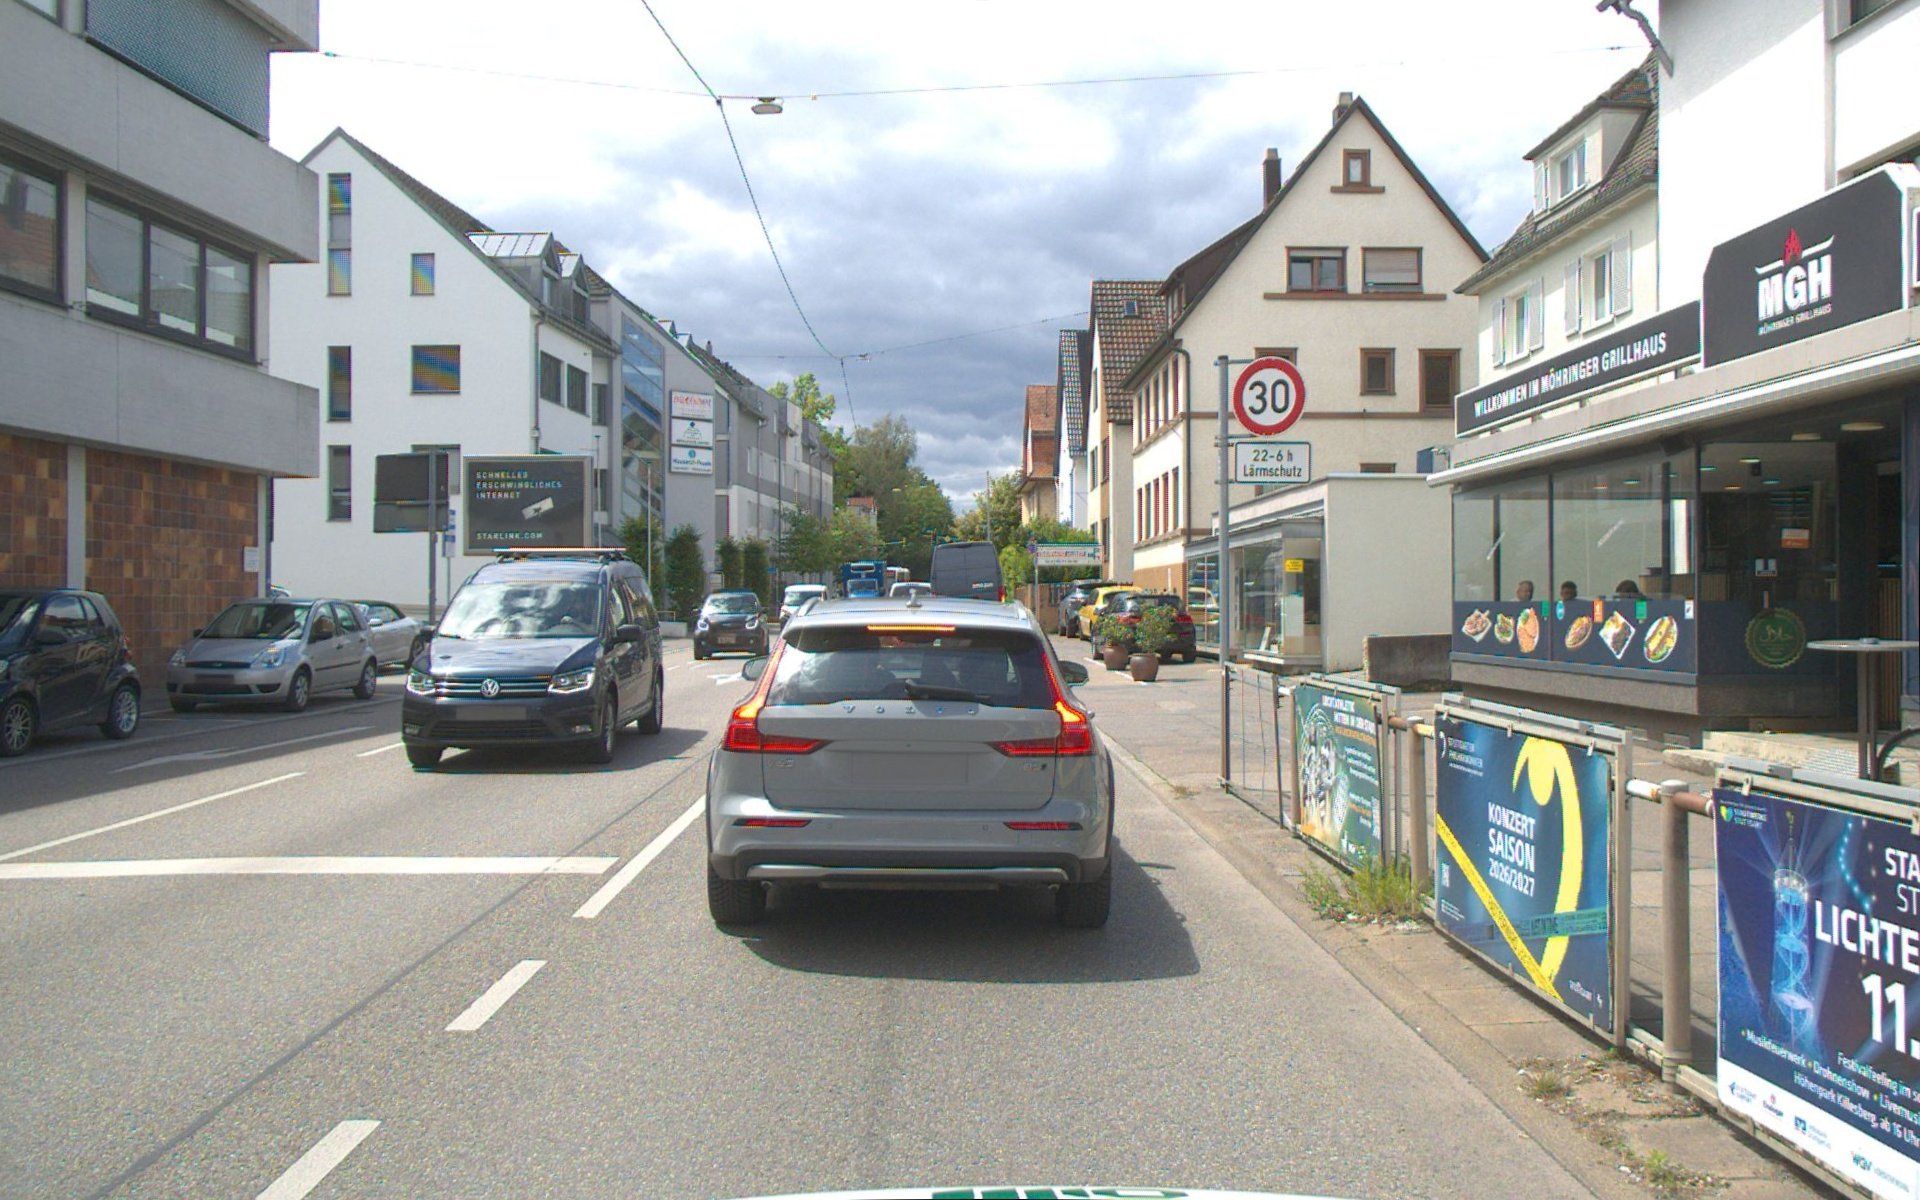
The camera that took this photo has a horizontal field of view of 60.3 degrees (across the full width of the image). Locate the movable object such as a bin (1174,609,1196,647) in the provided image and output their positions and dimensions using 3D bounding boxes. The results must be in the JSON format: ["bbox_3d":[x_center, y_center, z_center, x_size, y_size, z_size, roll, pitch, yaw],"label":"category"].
[{"bbox_3d":[5.621,0.694,41.337,0.490,0.941,0.598,-1,0,3],"label":"movable object such as a bin"}]

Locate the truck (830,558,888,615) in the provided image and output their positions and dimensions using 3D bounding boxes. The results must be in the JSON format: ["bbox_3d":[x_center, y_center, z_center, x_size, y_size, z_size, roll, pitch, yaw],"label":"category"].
[{"bbox_3d":[-5.737,-0.748,95.345,2.795,3.147,8.089,-1,0,0],"label":"truck"}]

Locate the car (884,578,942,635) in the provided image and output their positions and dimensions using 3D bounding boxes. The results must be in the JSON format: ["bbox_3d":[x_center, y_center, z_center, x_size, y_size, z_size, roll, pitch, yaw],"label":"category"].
[{"bbox_3d":[-1.727,0.224,61.980,1.952,2.049,4.000,0,0,1],"label":"car"}]

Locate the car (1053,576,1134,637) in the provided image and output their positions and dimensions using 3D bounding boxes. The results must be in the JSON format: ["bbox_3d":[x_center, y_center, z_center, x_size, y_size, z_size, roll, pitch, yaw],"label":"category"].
[{"bbox_3d":[3.825,0.154,48.112,1.823,1.640,4.585,-2,0,-2],"label":"car"}]

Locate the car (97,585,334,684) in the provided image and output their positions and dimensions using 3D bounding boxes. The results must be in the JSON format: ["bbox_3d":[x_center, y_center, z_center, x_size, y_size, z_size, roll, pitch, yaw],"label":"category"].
[{"bbox_3d":[-14.212,0.590,31.959,1.910,1.647,4.933,-3,0,5],"label":"car"}]

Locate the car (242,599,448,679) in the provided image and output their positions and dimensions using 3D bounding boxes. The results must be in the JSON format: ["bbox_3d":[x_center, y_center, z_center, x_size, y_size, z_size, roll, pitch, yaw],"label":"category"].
[{"bbox_3d":[-11.639,0.685,31.707,1.910,1.381,4.857,-1,0,3],"label":"car"}]

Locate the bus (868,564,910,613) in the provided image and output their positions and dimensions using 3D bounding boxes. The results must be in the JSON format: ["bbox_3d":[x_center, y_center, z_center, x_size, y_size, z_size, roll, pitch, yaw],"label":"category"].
[{"bbox_3d":[-4.890,-0.755,114.954,2.628,3.219,10.182,-1,0,-1],"label":"bus"}]

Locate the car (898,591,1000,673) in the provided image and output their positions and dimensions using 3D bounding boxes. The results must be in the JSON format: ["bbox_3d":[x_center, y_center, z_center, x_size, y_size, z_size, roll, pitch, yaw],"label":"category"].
[{"bbox_3d":[-0.172,0.571,32.040,1.857,1.472,3.969,1,0,1],"label":"car"}]

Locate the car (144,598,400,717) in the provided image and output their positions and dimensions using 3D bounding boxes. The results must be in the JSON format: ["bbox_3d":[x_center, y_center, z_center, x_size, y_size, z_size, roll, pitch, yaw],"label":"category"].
[{"bbox_3d":[-9.307,0.719,22.757,1.686,1.447,4.149,1,0,1],"label":"car"}]

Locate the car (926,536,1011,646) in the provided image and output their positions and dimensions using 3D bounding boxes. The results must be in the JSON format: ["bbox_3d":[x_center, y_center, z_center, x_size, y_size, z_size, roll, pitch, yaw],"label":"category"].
[{"bbox_3d":[0.179,-0.244,46.273,2.207,2.844,5.568,-1,0,-1],"label":"car"}]

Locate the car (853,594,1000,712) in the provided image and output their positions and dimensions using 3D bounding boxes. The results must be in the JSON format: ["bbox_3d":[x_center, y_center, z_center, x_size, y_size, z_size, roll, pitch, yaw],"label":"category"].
[{"bbox_3d":[-0.413,0.663,23.033,1.857,1.472,3.969,0,0,0],"label":"car"}]

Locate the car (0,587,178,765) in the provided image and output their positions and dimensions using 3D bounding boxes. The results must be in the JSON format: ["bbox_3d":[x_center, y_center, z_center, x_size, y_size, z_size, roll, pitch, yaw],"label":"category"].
[{"bbox_3d":[-9.394,0.669,16.414,1.700,1.583,3.057,1,0,2],"label":"car"}]

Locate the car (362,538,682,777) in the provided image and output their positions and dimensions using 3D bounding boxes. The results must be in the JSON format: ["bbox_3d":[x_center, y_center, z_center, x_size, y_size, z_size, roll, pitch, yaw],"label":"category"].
[{"bbox_3d":[-3.958,0.449,15.867,1.909,1.909,4.875,-1,0,-2],"label":"car"}]

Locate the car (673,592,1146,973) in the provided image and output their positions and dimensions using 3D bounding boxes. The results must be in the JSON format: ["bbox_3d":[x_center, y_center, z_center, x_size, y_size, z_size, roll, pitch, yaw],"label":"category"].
[{"bbox_3d":[-0.170,0.710,8.523,1.857,1.479,3.969,1,0,1],"label":"car"}]

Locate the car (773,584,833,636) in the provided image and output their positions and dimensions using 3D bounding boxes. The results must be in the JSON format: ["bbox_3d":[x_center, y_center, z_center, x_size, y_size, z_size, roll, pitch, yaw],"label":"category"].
[{"bbox_3d":[-5.873,0.344,62.310,1.906,1.852,4.277,-1,0,-1],"label":"car"}]

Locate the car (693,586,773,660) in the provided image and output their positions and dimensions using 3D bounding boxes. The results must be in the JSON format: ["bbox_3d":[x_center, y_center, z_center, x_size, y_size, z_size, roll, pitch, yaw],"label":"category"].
[{"bbox_3d":[-5.389,0.518,39.523,1.643,1.664,2.832,-1,0,-3],"label":"car"}]

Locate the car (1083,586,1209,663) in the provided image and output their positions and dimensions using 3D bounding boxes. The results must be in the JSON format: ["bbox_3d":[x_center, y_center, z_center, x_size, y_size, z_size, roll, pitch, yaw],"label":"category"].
[{"bbox_3d":[3.830,0.470,34.815,1.929,1.473,4.533,-1,0,-3],"label":"car"}]

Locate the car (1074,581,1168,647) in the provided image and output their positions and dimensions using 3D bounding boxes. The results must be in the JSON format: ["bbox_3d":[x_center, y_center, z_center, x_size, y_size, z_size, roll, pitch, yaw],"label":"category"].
[{"bbox_3d":[4.153,0.320,43.332,1.839,1.472,4.306,-1,3,-3],"label":"car"}]

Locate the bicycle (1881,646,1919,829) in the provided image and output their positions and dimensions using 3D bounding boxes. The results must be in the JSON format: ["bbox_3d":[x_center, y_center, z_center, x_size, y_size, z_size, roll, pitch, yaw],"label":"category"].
[{"bbox_3d":[5.864,0.799,9.095,0.466,1.046,1.632,-1,0,-10],"label":"bicycle"}]
